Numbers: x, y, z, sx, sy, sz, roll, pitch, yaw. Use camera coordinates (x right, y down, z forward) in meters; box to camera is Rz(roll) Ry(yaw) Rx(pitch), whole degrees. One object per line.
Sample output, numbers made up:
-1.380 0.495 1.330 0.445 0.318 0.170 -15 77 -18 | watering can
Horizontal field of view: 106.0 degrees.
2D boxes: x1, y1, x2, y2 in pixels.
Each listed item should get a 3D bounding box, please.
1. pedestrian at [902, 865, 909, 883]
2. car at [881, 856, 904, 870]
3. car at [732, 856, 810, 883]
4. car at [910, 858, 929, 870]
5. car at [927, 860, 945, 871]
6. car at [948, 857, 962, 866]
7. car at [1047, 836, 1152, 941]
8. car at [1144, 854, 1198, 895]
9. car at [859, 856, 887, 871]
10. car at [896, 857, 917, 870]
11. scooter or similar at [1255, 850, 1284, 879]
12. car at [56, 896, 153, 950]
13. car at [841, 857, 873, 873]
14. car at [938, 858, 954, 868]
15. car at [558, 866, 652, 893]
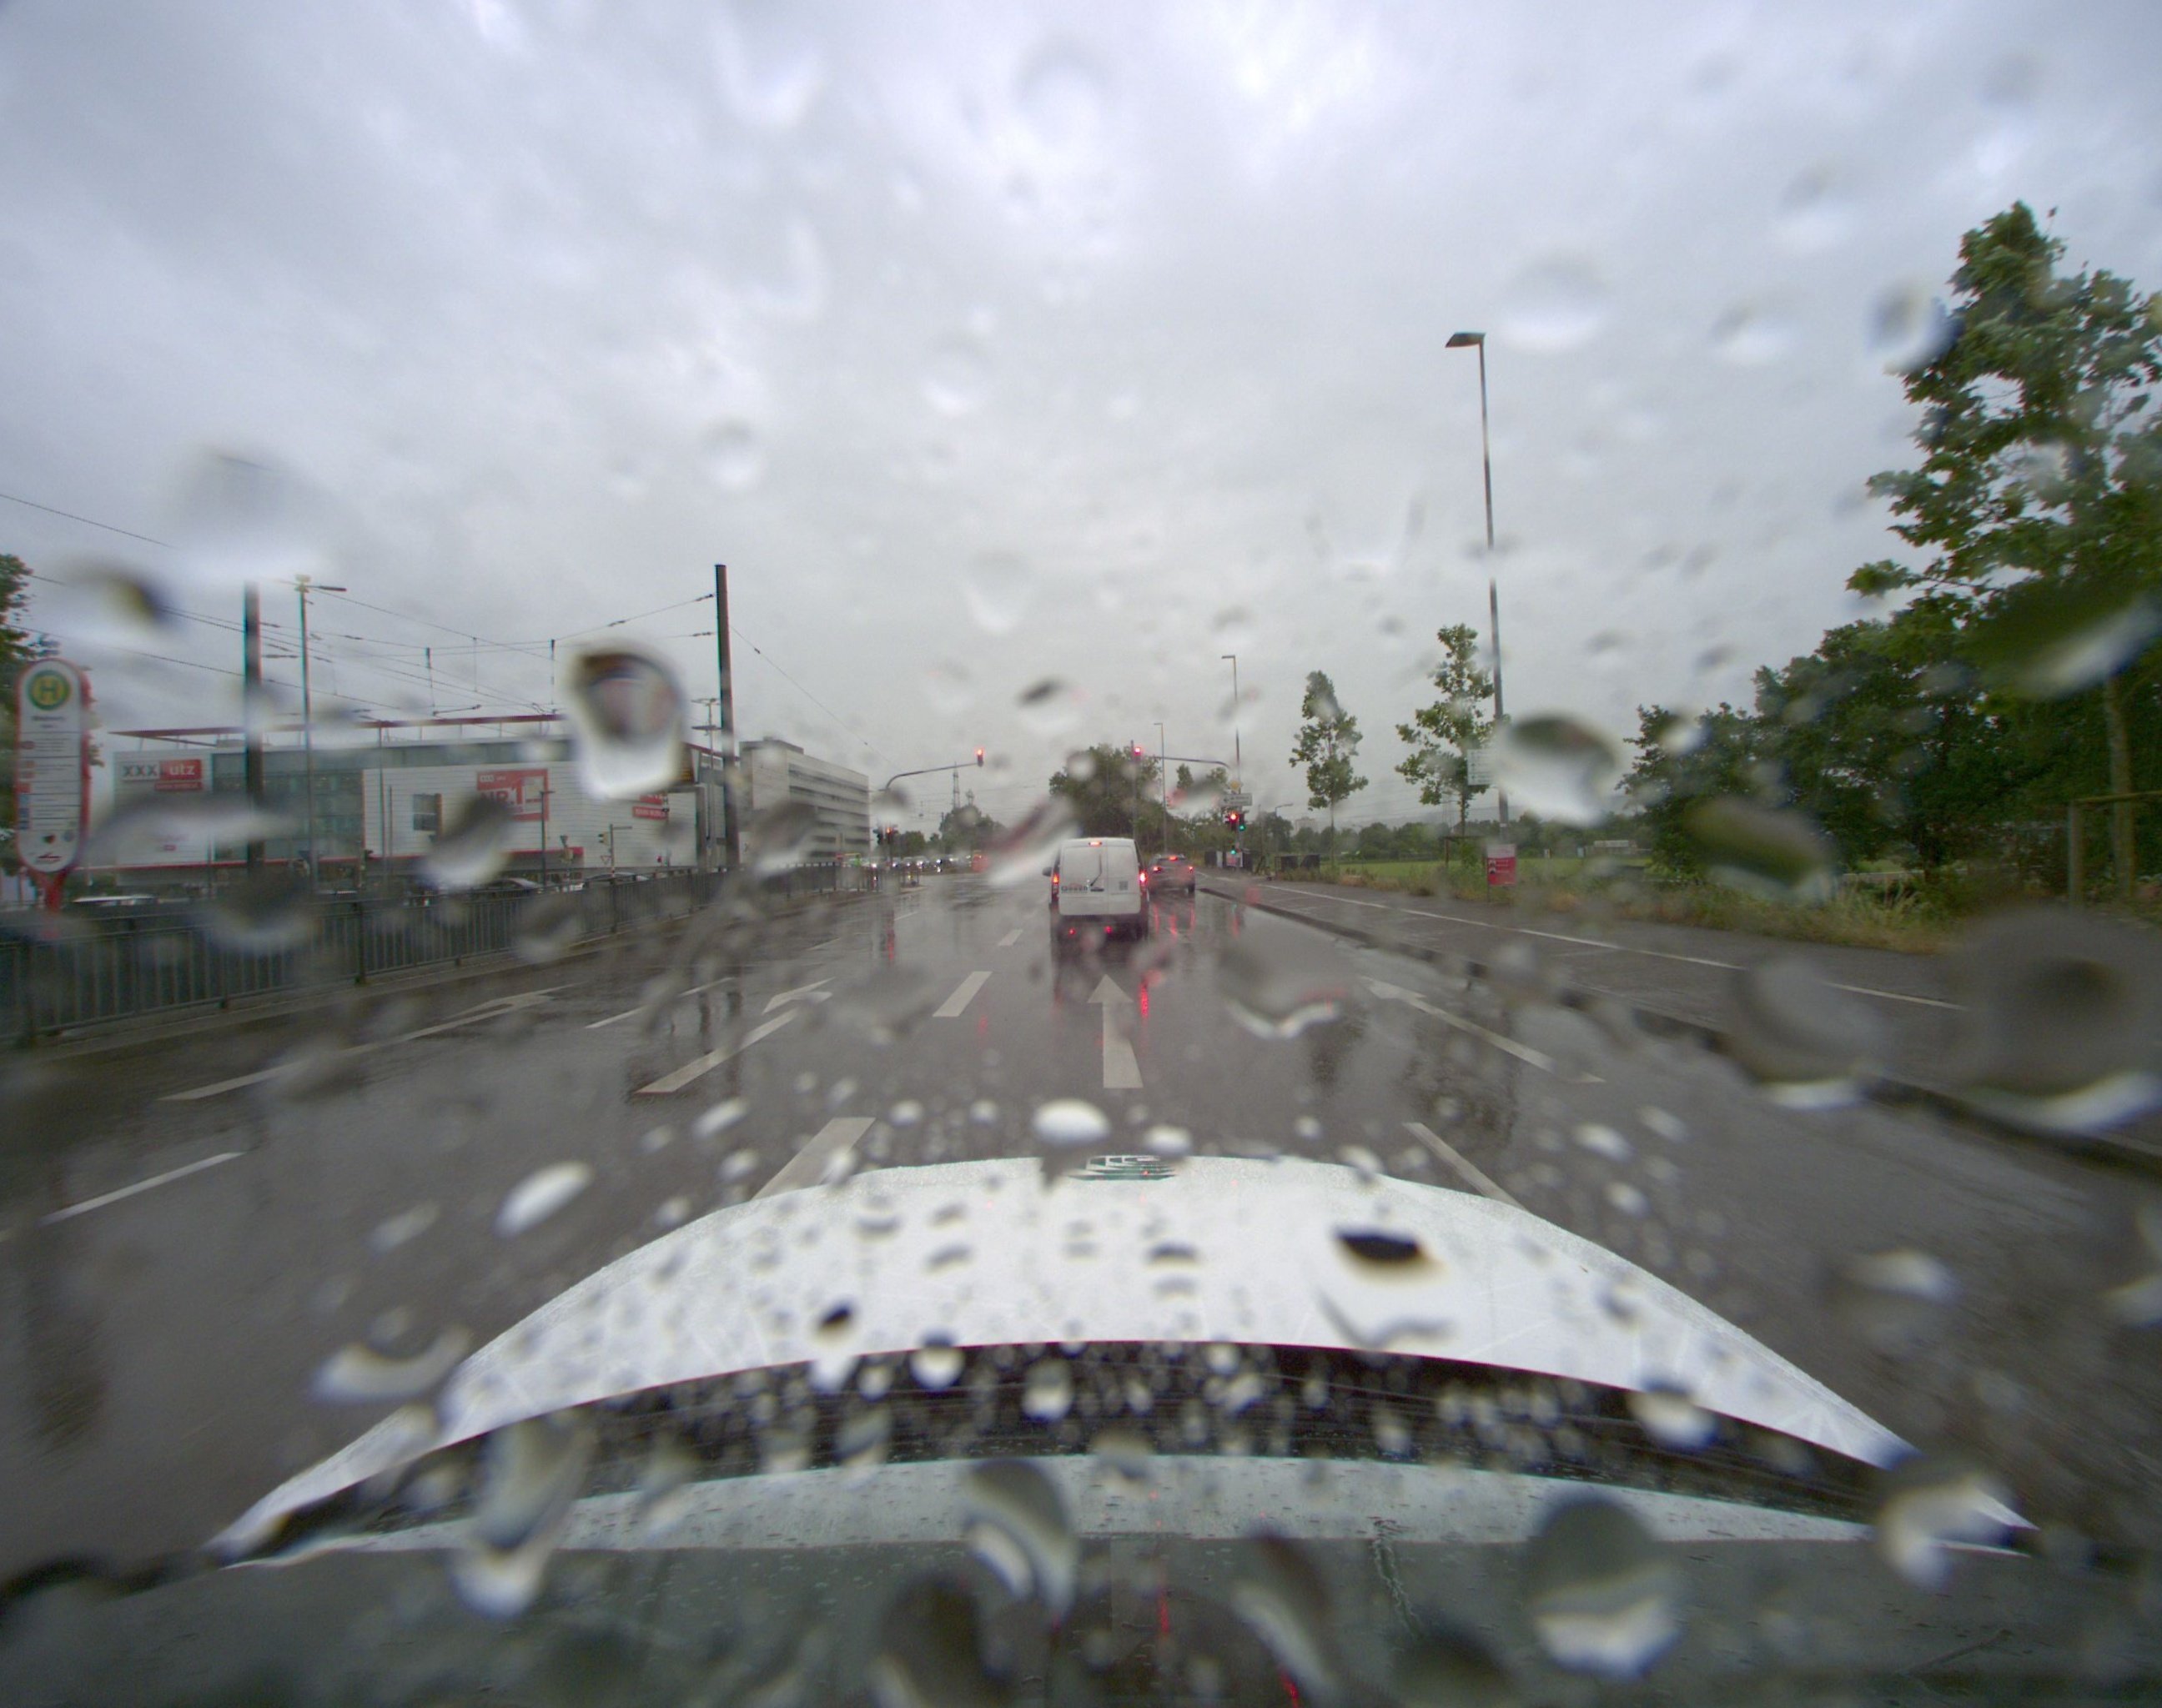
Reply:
-9.077 1.040 42.104 0.314 0.897 0.380 0 0 -2 | pedestrian
-20.137 1.011 86.967 1.554 1.426 3.568 0 -1 1 | car
-19.443 0.969 51.244 4.463 1.662 1.941 1 -2 -19 | car
-19.946 1.278 100.533 1.554 1.426 3.568 0 -1 1 | car
-19.192 1.503 107.841 1.705 1.426 3.809 0 -1 1 | car
-19.804 1.213 127.671 1.554 1.426 3.568 0 -1 1 | car
0.226 0.559 15.924 1.750 1.750 4.165 -1 1 -3 | car
3.471 0.781 32.035 1.679 1.508 3.920 0 0 0 | car
-20.289 0.985 79.732 1.705 1.426 3.809 0 -1 1 | car
-20.095 1.122 94.048 1.554 1.426 3.568 0 -1 1 | car
8.386 0.443 36.327 0.687 1.211 3.021 -2 0 2 | scooter or similar
-31.311 2.150 26.203 1.594 1.464 3.387 0 -1 -43 | car
-20.276 1.006 73.825 1.705 1.426 3.809 0 -1 1 | car
-19.444 1.361 117.326 1.554 1.426 3.568 0 -1 1 | car
-26.660 1.432 45.729 4.175 1.451 1.715 0 -2 -3 | car
